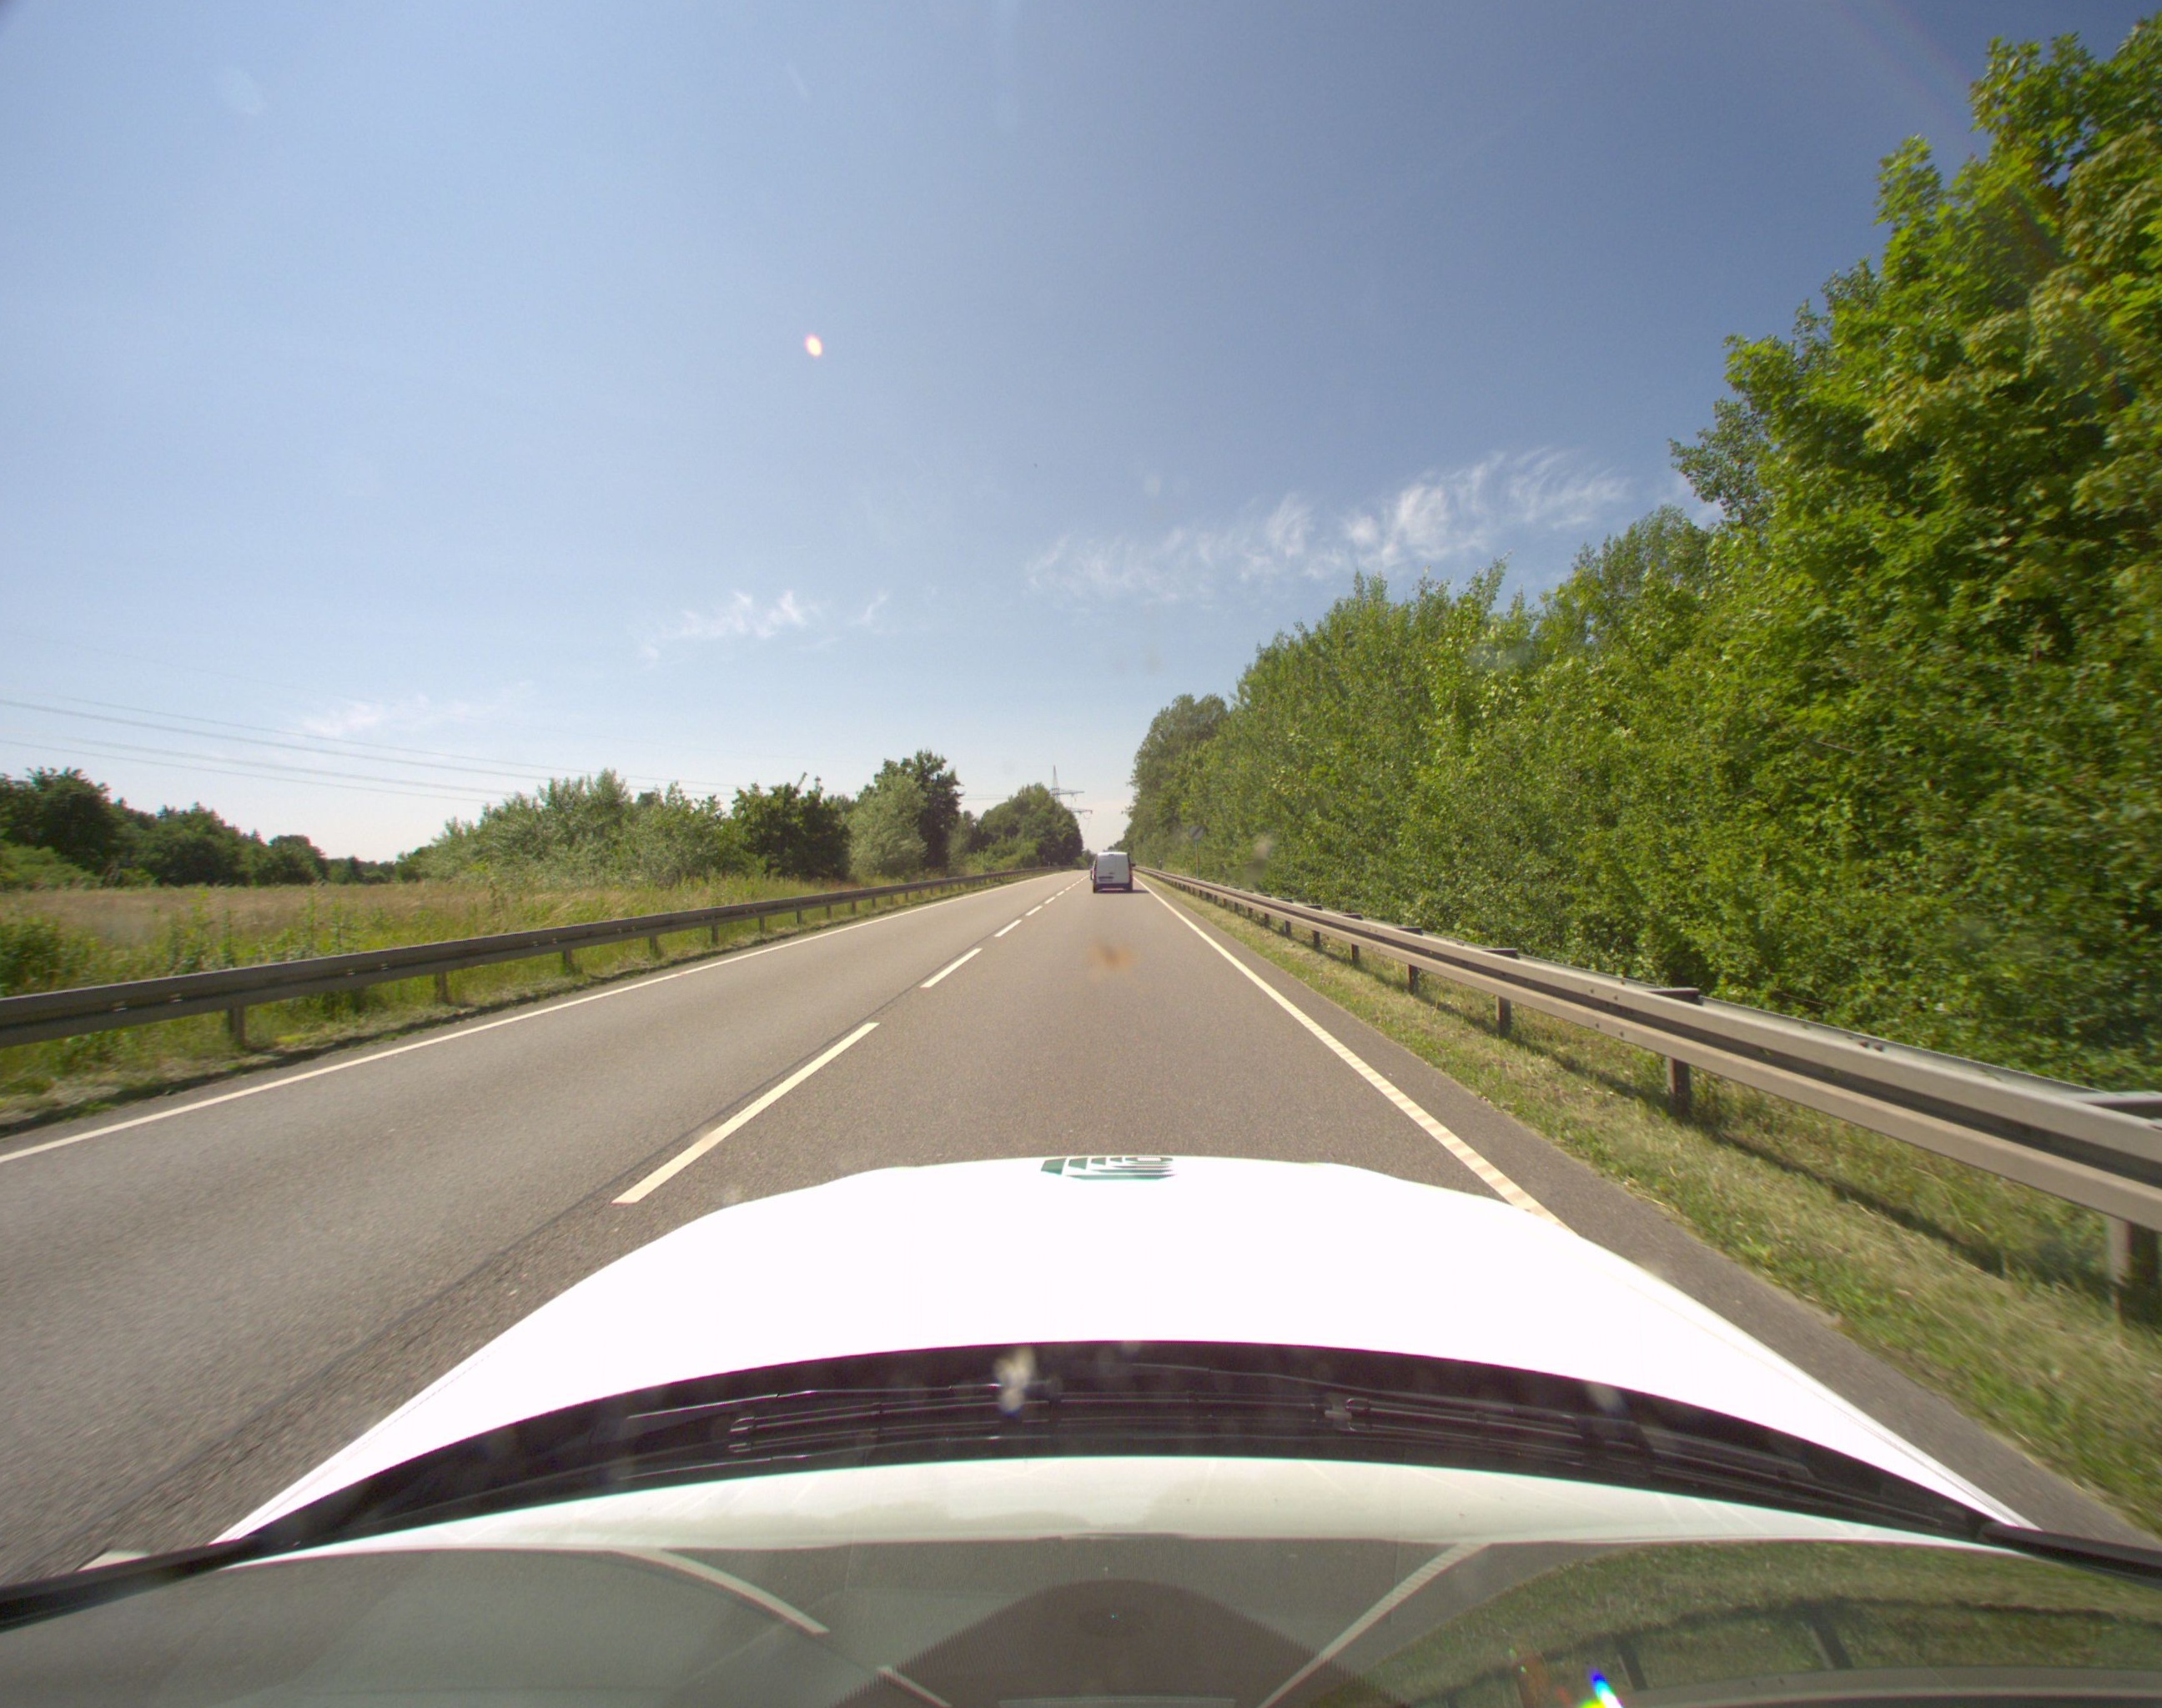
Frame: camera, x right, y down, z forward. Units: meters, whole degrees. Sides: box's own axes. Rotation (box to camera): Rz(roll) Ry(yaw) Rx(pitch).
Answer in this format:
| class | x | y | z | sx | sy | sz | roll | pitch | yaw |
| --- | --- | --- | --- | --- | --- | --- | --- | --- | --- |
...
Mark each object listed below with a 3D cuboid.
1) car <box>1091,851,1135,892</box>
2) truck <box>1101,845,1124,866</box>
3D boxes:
| class | x | y | z | sx | sy | sz | roll | pitch | yaw |
| --- | --- | --- | --- | --- | --- | --- | --- | --- | --- |
| car | 1.413 | 0.748 | 36.618 | 1.868 | 1.741 | 4.001 | 0 | -1 | 2 |
| truck | 5.012 | 0.285 | 133.072 | 3.285 | 3.172 | 14.405 | 1 | 0 | 1 |
